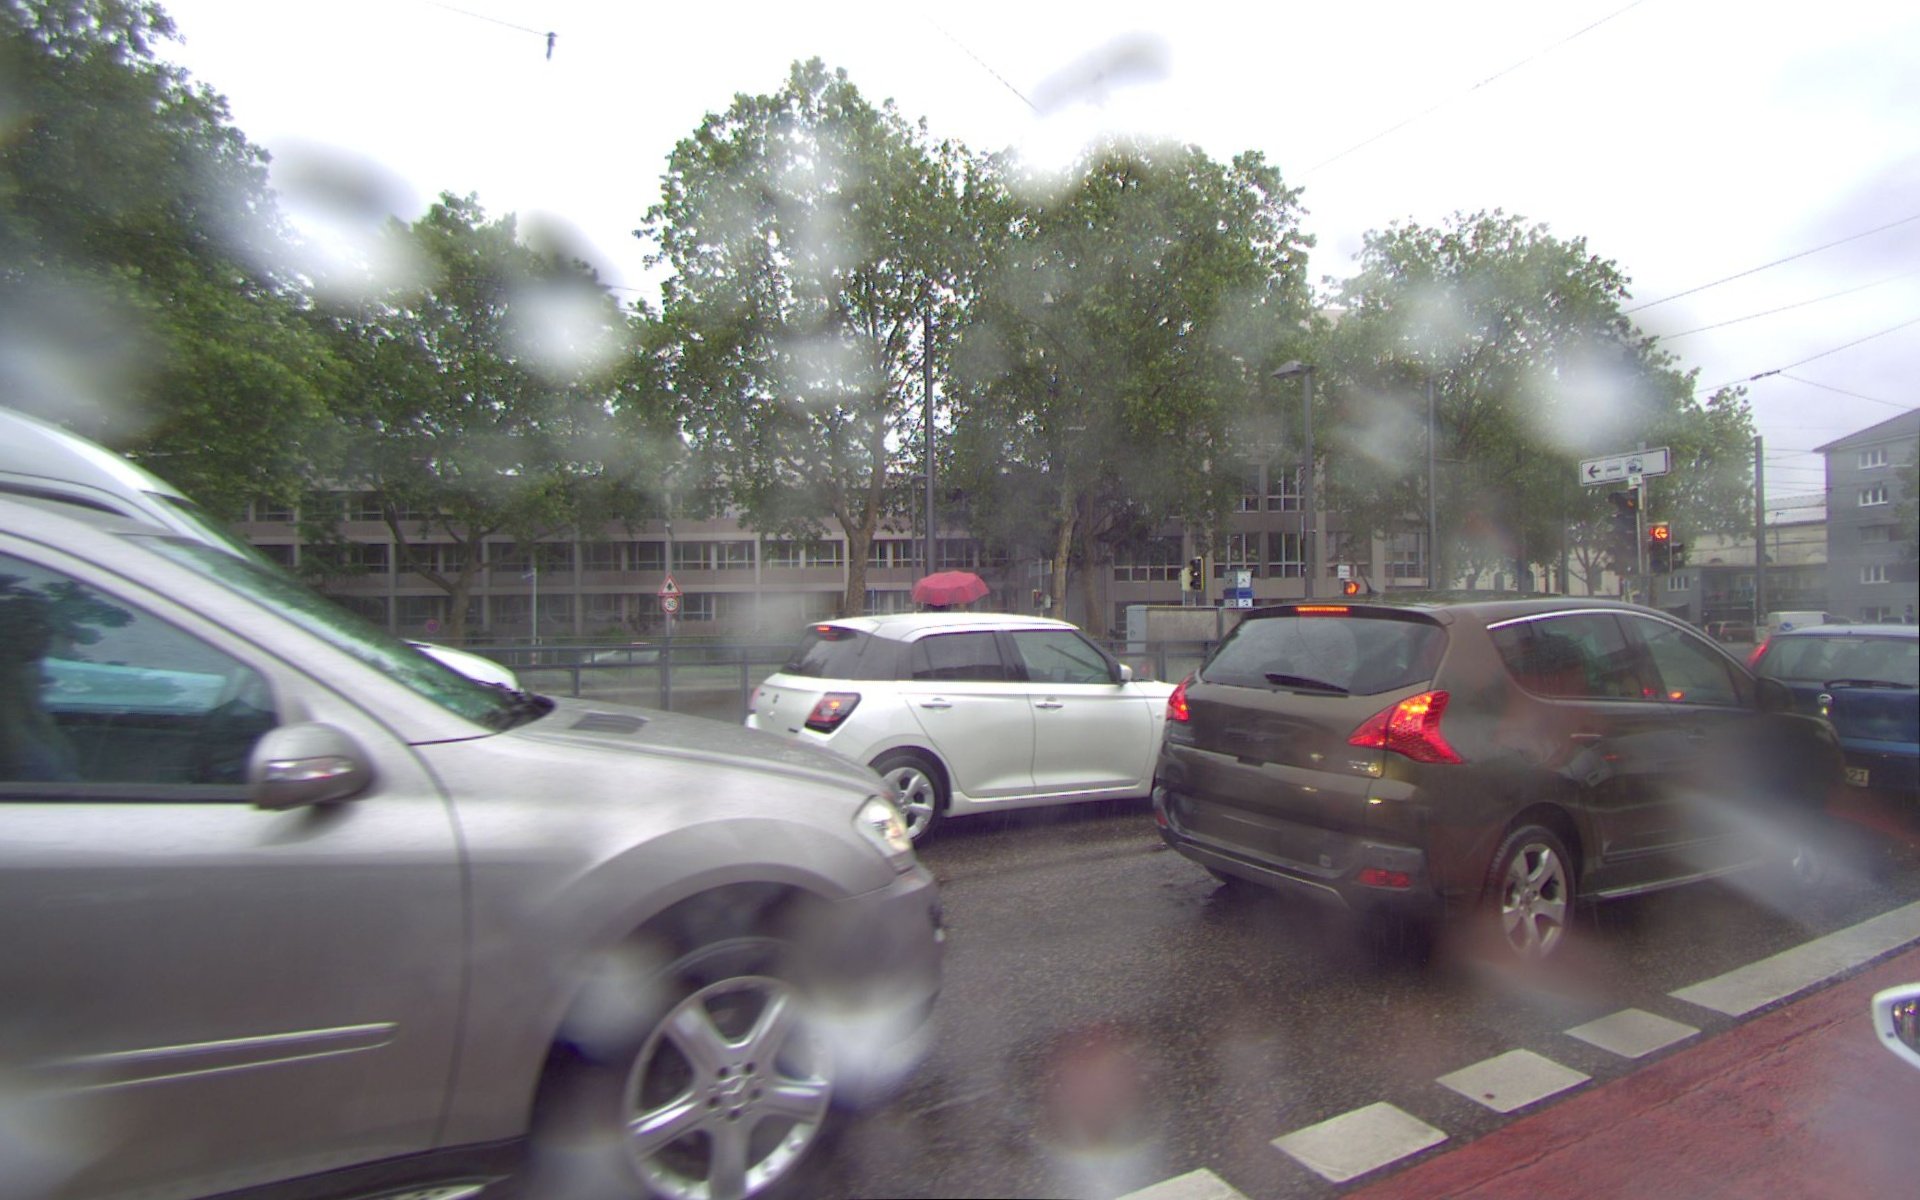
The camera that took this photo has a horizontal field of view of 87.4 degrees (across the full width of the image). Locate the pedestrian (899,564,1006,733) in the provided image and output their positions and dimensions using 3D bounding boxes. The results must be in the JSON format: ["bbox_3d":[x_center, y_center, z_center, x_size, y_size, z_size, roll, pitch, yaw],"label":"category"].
[{"bbox_3d":[-0.091,0.527,11.087,0.888,1.769,0.762,0,-2,-30],"label":"pedestrian"}]

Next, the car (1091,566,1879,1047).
[{"bbox_3d":[2.902,0.755,5.369,4.123,1.690,1.826,1,0,-30],"label":"car"}]

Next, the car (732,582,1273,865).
[{"bbox_3d":[0.389,0.762,7.533,3.791,1.650,1.637,1,-1,-30],"label":"car"}]

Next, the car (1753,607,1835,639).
[{"bbox_3d":[62.160,1.704,74.915,4.698,2.228,1.998,-1,1,-6],"label":"car"}]

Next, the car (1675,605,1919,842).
[{"bbox_3d":[7.838,0.873,8.329,3.775,1.599,1.719,1,0,-30],"label":"car"}]

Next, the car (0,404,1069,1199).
[{"bbox_3d":[-2.104,0.579,2.465,4.411,1.794,2.014,1,0,-31],"label":"car"}]

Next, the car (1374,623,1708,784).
[{"bbox_3d":[6.583,1.039,11.311,3.737,1.514,1.621,1,0,-30],"label":"car"}]

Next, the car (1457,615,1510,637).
[{"bbox_3d":[37.003,1.886,71.072,1.533,1.514,3.780,0,-2,-4],"label":"car"}]

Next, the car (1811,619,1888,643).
[{"bbox_3d":[63.833,2.221,72.132,3.922,1.516,1.959,-1,1,-3],"label":"car"}]

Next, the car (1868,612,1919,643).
[{"bbox_3d":[63.358,1.842,66.975,3.922,2.040,1.999,1,0,-3],"label":"car"}]

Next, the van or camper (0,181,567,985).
[{"bbox_3d":[-5.011,-0.062,4.483,5.786,3.183,2.147,1,-1,-32],"label":"van or camper"}]

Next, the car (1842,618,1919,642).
[{"bbox_3d":[63.956,2.076,69.680,3.922,1.550,1.999,-1,0,-3],"label":"car"}]

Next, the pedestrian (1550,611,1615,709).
[{"bbox_3d":[10.624,1.009,17.144,0.731,1.628,0.623,1,0,-23],"label":"pedestrian"}]
